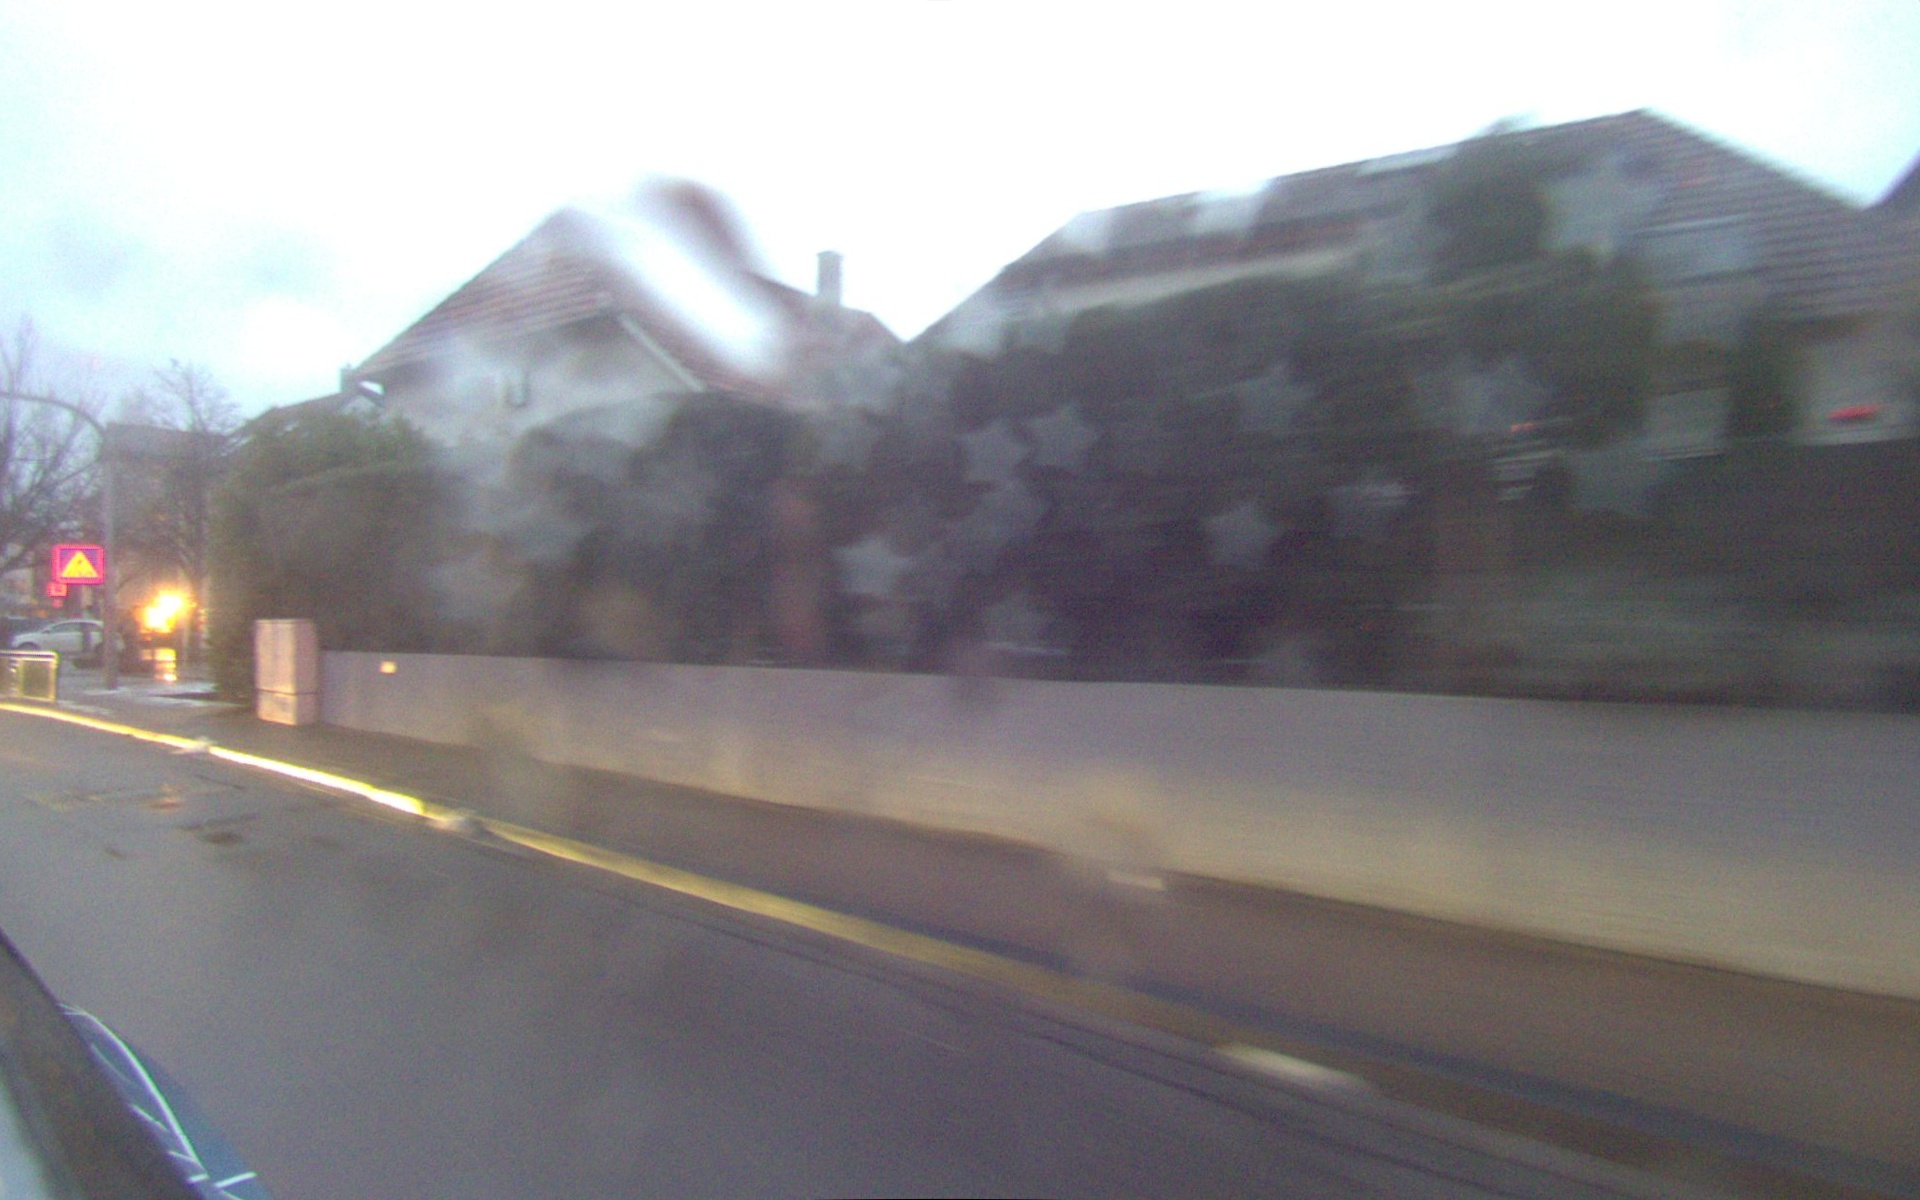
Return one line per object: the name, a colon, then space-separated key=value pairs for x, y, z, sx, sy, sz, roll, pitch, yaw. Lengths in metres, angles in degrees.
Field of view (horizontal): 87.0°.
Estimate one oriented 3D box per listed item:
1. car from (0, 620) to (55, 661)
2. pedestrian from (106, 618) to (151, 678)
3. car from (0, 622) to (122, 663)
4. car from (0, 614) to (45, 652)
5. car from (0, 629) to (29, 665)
car: x=-39.994 y=1.699 z=41.847 sx=3.573 sy=1.624 sz=1.615 roll=-2 pitch=0 yaw=-31
pedestrian: x=-24.994 y=1.430 z=30.417 sx=0.955 sy=1.748 sz=0.870 roll=-2 pitch=-1 yaw=41
car: x=-34.996 y=1.612 z=39.389 sx=3.426 sy=1.420 sz=1.615 roll=-2 pitch=0 yaw=-30
car: x=-42.462 y=1.467 z=43.953 sx=3.937 sy=1.645 sz=1.637 roll=0 pitch=-1 yaw=-40
car: x=-46.222 y=2.230 z=47.184 sx=3.934 sy=1.645 sz=1.638 roll=0 pitch=-1 yaw=-35
